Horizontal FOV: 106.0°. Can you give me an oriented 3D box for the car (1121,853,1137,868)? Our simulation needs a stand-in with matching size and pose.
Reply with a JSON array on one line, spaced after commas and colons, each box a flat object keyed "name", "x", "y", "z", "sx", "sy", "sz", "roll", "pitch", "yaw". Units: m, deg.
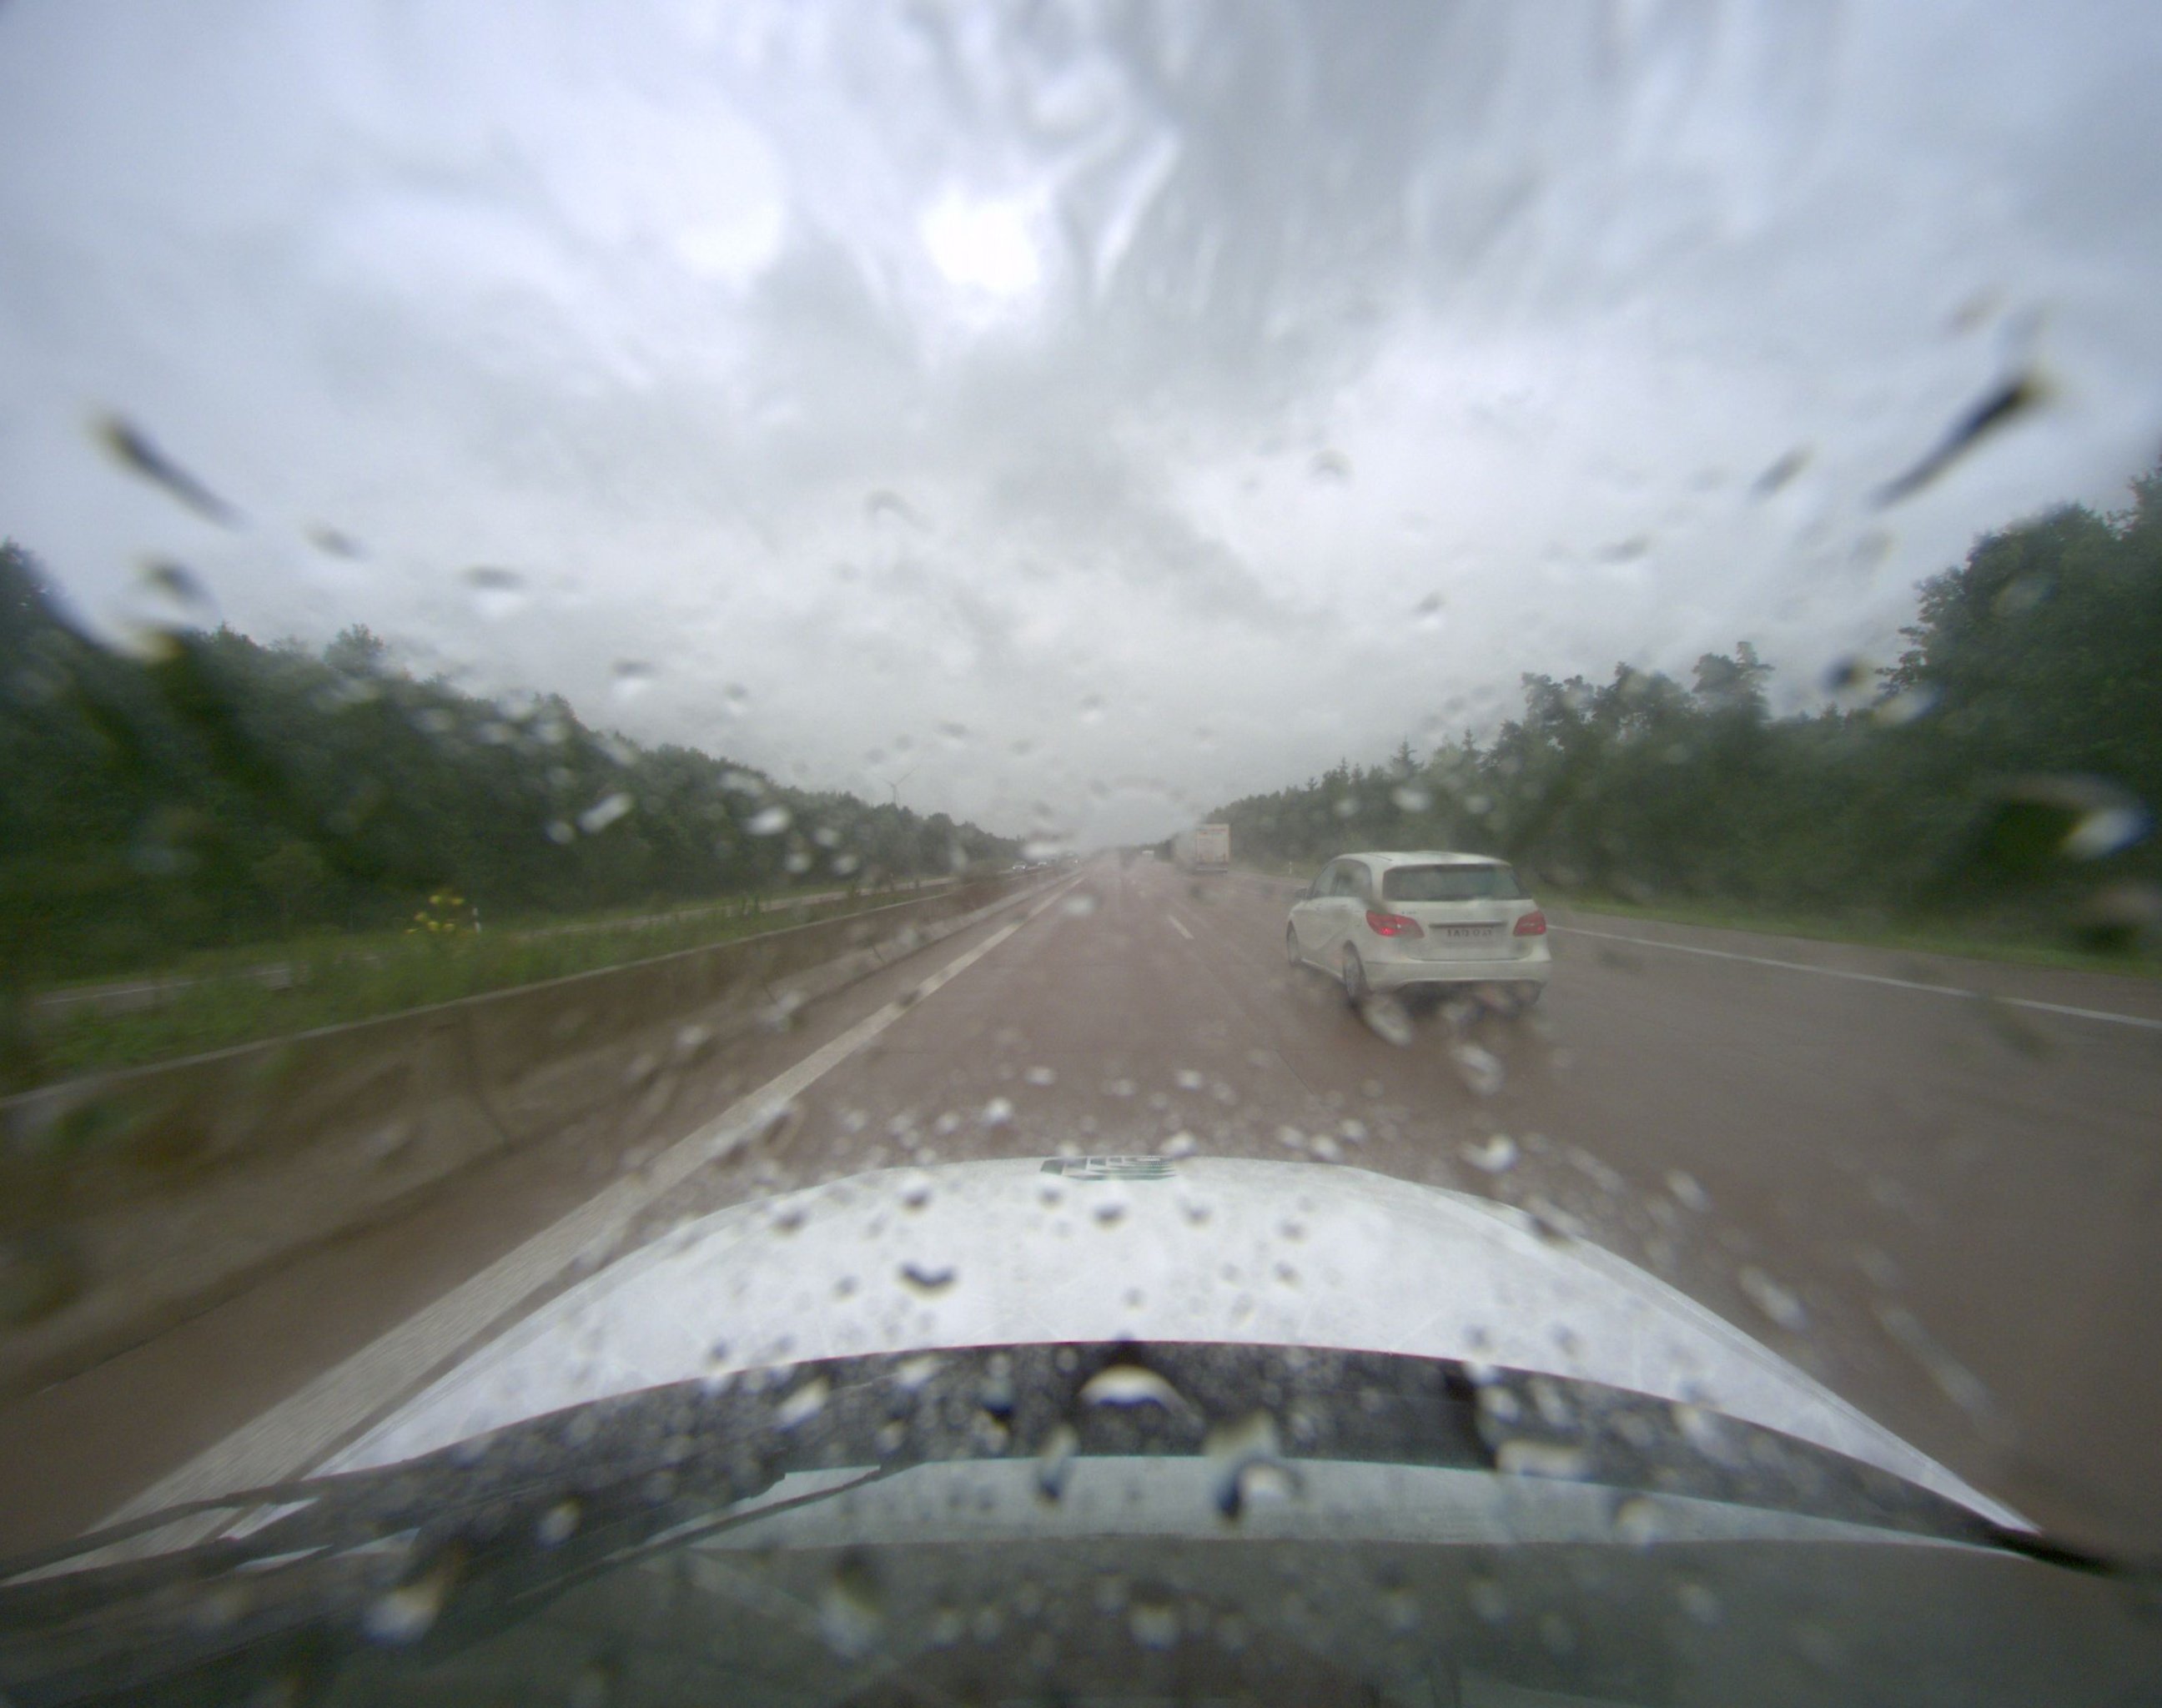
[{"name": "car", "x": 6.652, "y": 0.923, "z": 113.675, "sx": 2.165, "sy": 1.981, "sz": 4.132, "roll": 1, "pitch": 0, "yaw": 2}]

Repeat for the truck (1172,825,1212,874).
[{"name": "truck", "x": 9.786, "y": -0.404, "z": 72.281, "sx": 2.870, "sy": 4.106, "sz": 6.352, "roll": -1, "pitch": 0, "yaw": 2}]

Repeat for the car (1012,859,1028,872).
[{"name": "car", "x": -8.318, "y": 1.573, "z": 111.377, "sx": 1.802, "sy": 1.631, "sz": 4.505, "roll": 1, "pitch": 0, "yaw": 0}]

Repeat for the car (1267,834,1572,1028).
[{"name": "car", "x": 3.555, "y": 0.695, "z": 9.627, "sx": 1.801, "sy": 1.728, "sz": 4.746, "roll": 0, "pitch": 0, "yaw": 2}]

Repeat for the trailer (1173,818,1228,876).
[{"name": "trailer", "x": 9.648, "y": -0.532, "z": 67.163, "sx": 2.842, "sy": 4.231, "sz": 13.136, "roll": -2, "pitch": 0, "yaw": 2}]
